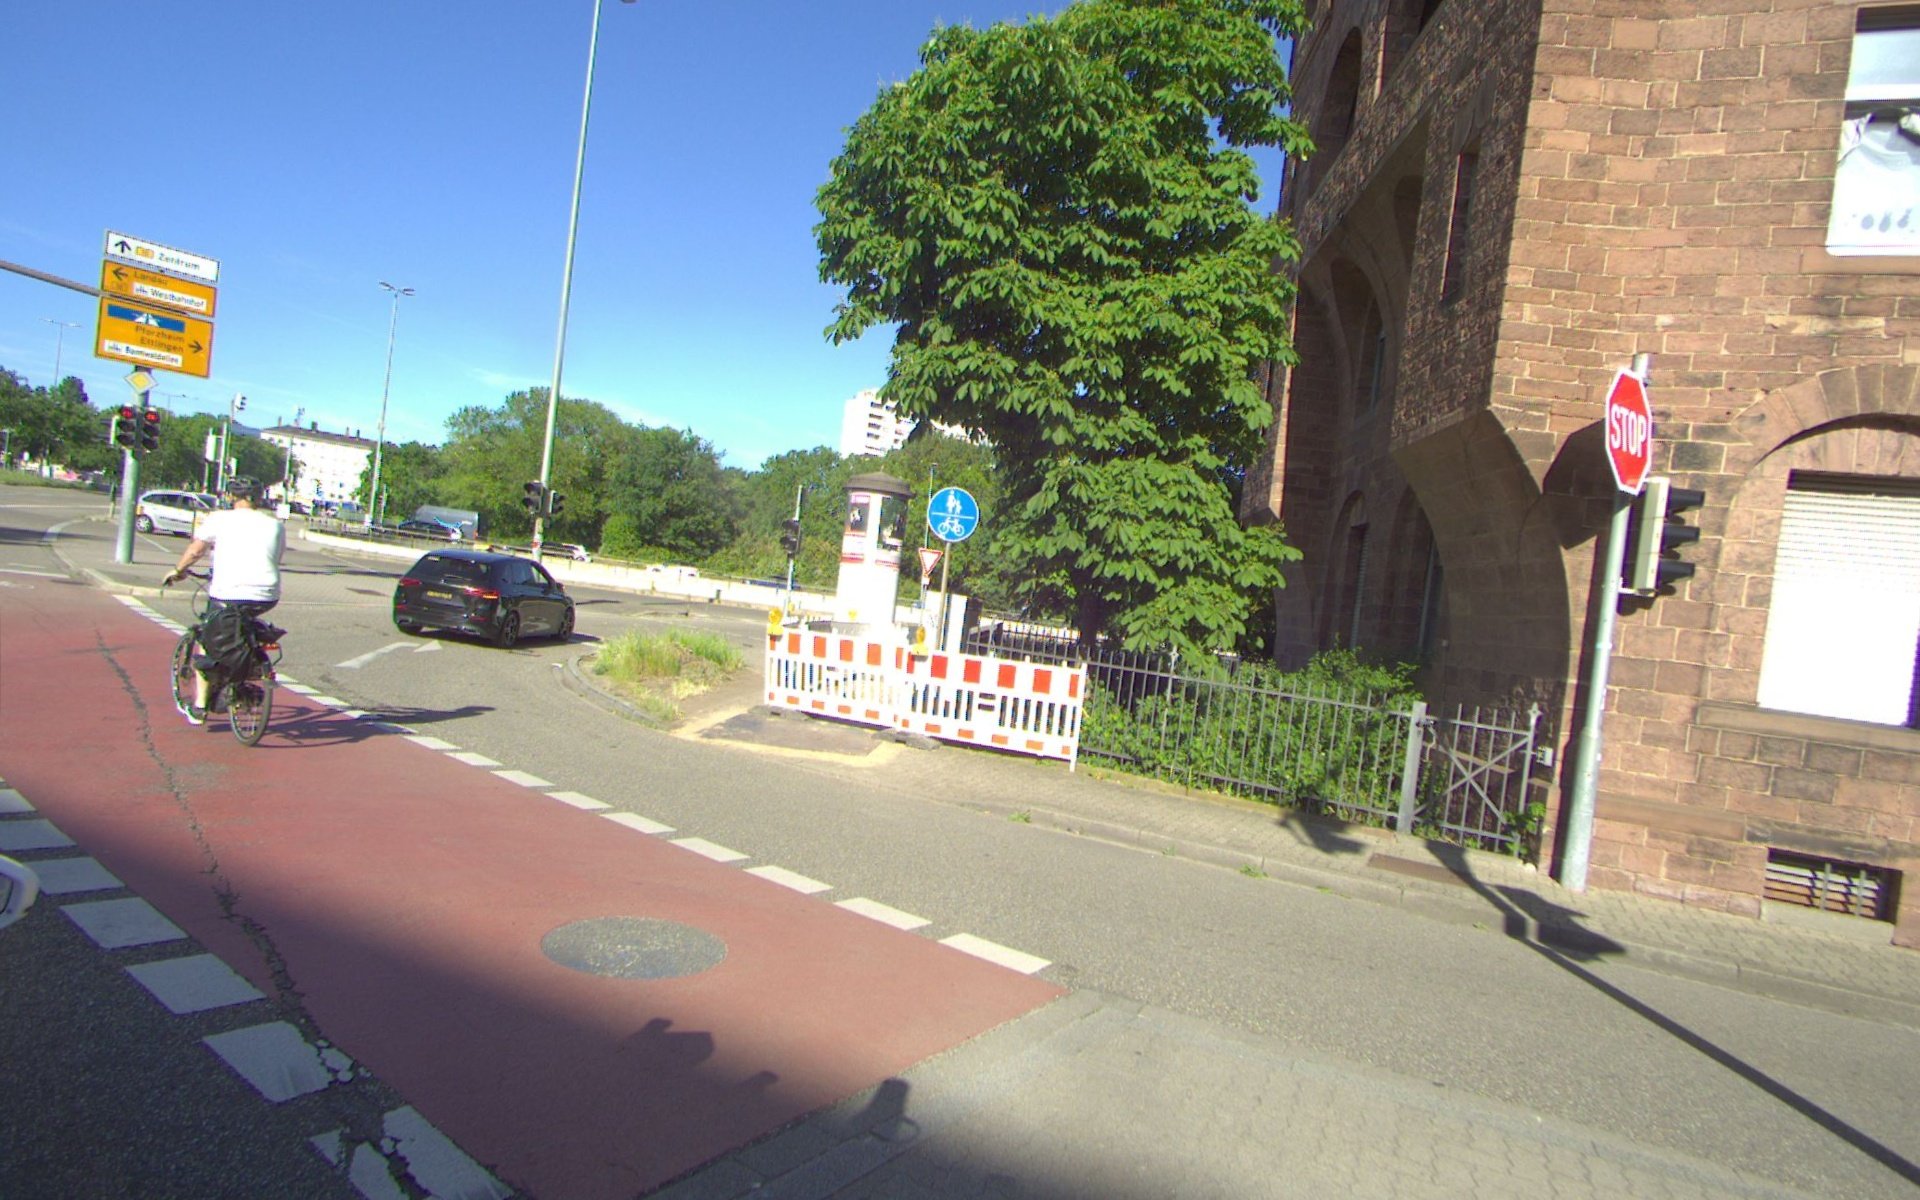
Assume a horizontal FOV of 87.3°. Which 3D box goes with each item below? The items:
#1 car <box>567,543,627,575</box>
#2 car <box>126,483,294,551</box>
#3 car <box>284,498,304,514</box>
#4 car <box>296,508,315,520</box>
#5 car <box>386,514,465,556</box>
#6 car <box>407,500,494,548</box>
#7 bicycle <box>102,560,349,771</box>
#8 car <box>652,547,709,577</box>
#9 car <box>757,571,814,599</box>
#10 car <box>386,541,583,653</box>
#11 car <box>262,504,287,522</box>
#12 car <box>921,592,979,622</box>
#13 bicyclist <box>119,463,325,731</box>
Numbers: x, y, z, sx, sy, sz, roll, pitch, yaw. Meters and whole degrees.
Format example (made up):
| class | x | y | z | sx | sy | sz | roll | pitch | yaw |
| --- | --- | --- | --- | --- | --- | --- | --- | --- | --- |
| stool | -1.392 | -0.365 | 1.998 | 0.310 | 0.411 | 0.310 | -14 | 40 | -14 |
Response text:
| class | x | y | z | sx | sy | sz | roll | pitch | yaw |
| --- | --- | --- | --- | --- | --- | --- | --- | --- | --- |
| car | -26.451 | -2.957 | 73.423 | 3.941 | 1.770 | 1.993 | 7 | -2 | -18 |
| car | -24.664 | -2.709 | 33.183 | 4.028 | 1.603 | 1.825 | 7 | 1 | 0 |
| car | -93.881 | -13.256 | 141.909 | 1.978 | 1.817 | 3.967 | 6 | 1 | -30 |
| car | -103.839 | -13.622 | 159.644 | 1.976 | 1.661 | 3.971 | 6 | 1 | -28 |
| car | -33.793 | -4.095 | 63.727 | 3.941 | 2.037 | 1.993 | 7 | -1 | -18 |
| car | -36.043 | -5.375 | 71.335 | 4.802 | 2.638 | 2.259 | 6 | -1 | -8 |
| bicycle | -5.215 | 0.402 | 7.062 | 2.368 | 1.124 | 0.799 | 6 | -1 | 41 |
| car | -20.909 | -2.787 | 75.190 | 3.941 | 1.704 | 1.850 | 7 | -2 | -18 |
| car | -13.550 | -1.160 | 78.194 | 3.943 | 1.681 | 1.992 | 7 | -2 | -20 |
| car | -8.229 | -0.052 | 17.839 | 1.726 | 1.511 | 3.996 | 8 | 0 | -5 |
| car | -85.055 | -10.774 | 124.830 | 1.976 | 1.815 | 3.975 | 7 | -2 | -27 |
| car | -0.843 | 0.591 | 82.799 | 4.198 | 1.877 | 2.011 | 7 | 0 | -19 |
| bicyclist | -5.226 | -0.026 | 7.119 | 1.070 | 1.725 | 0.799 | 7 | -1 | 41 |
